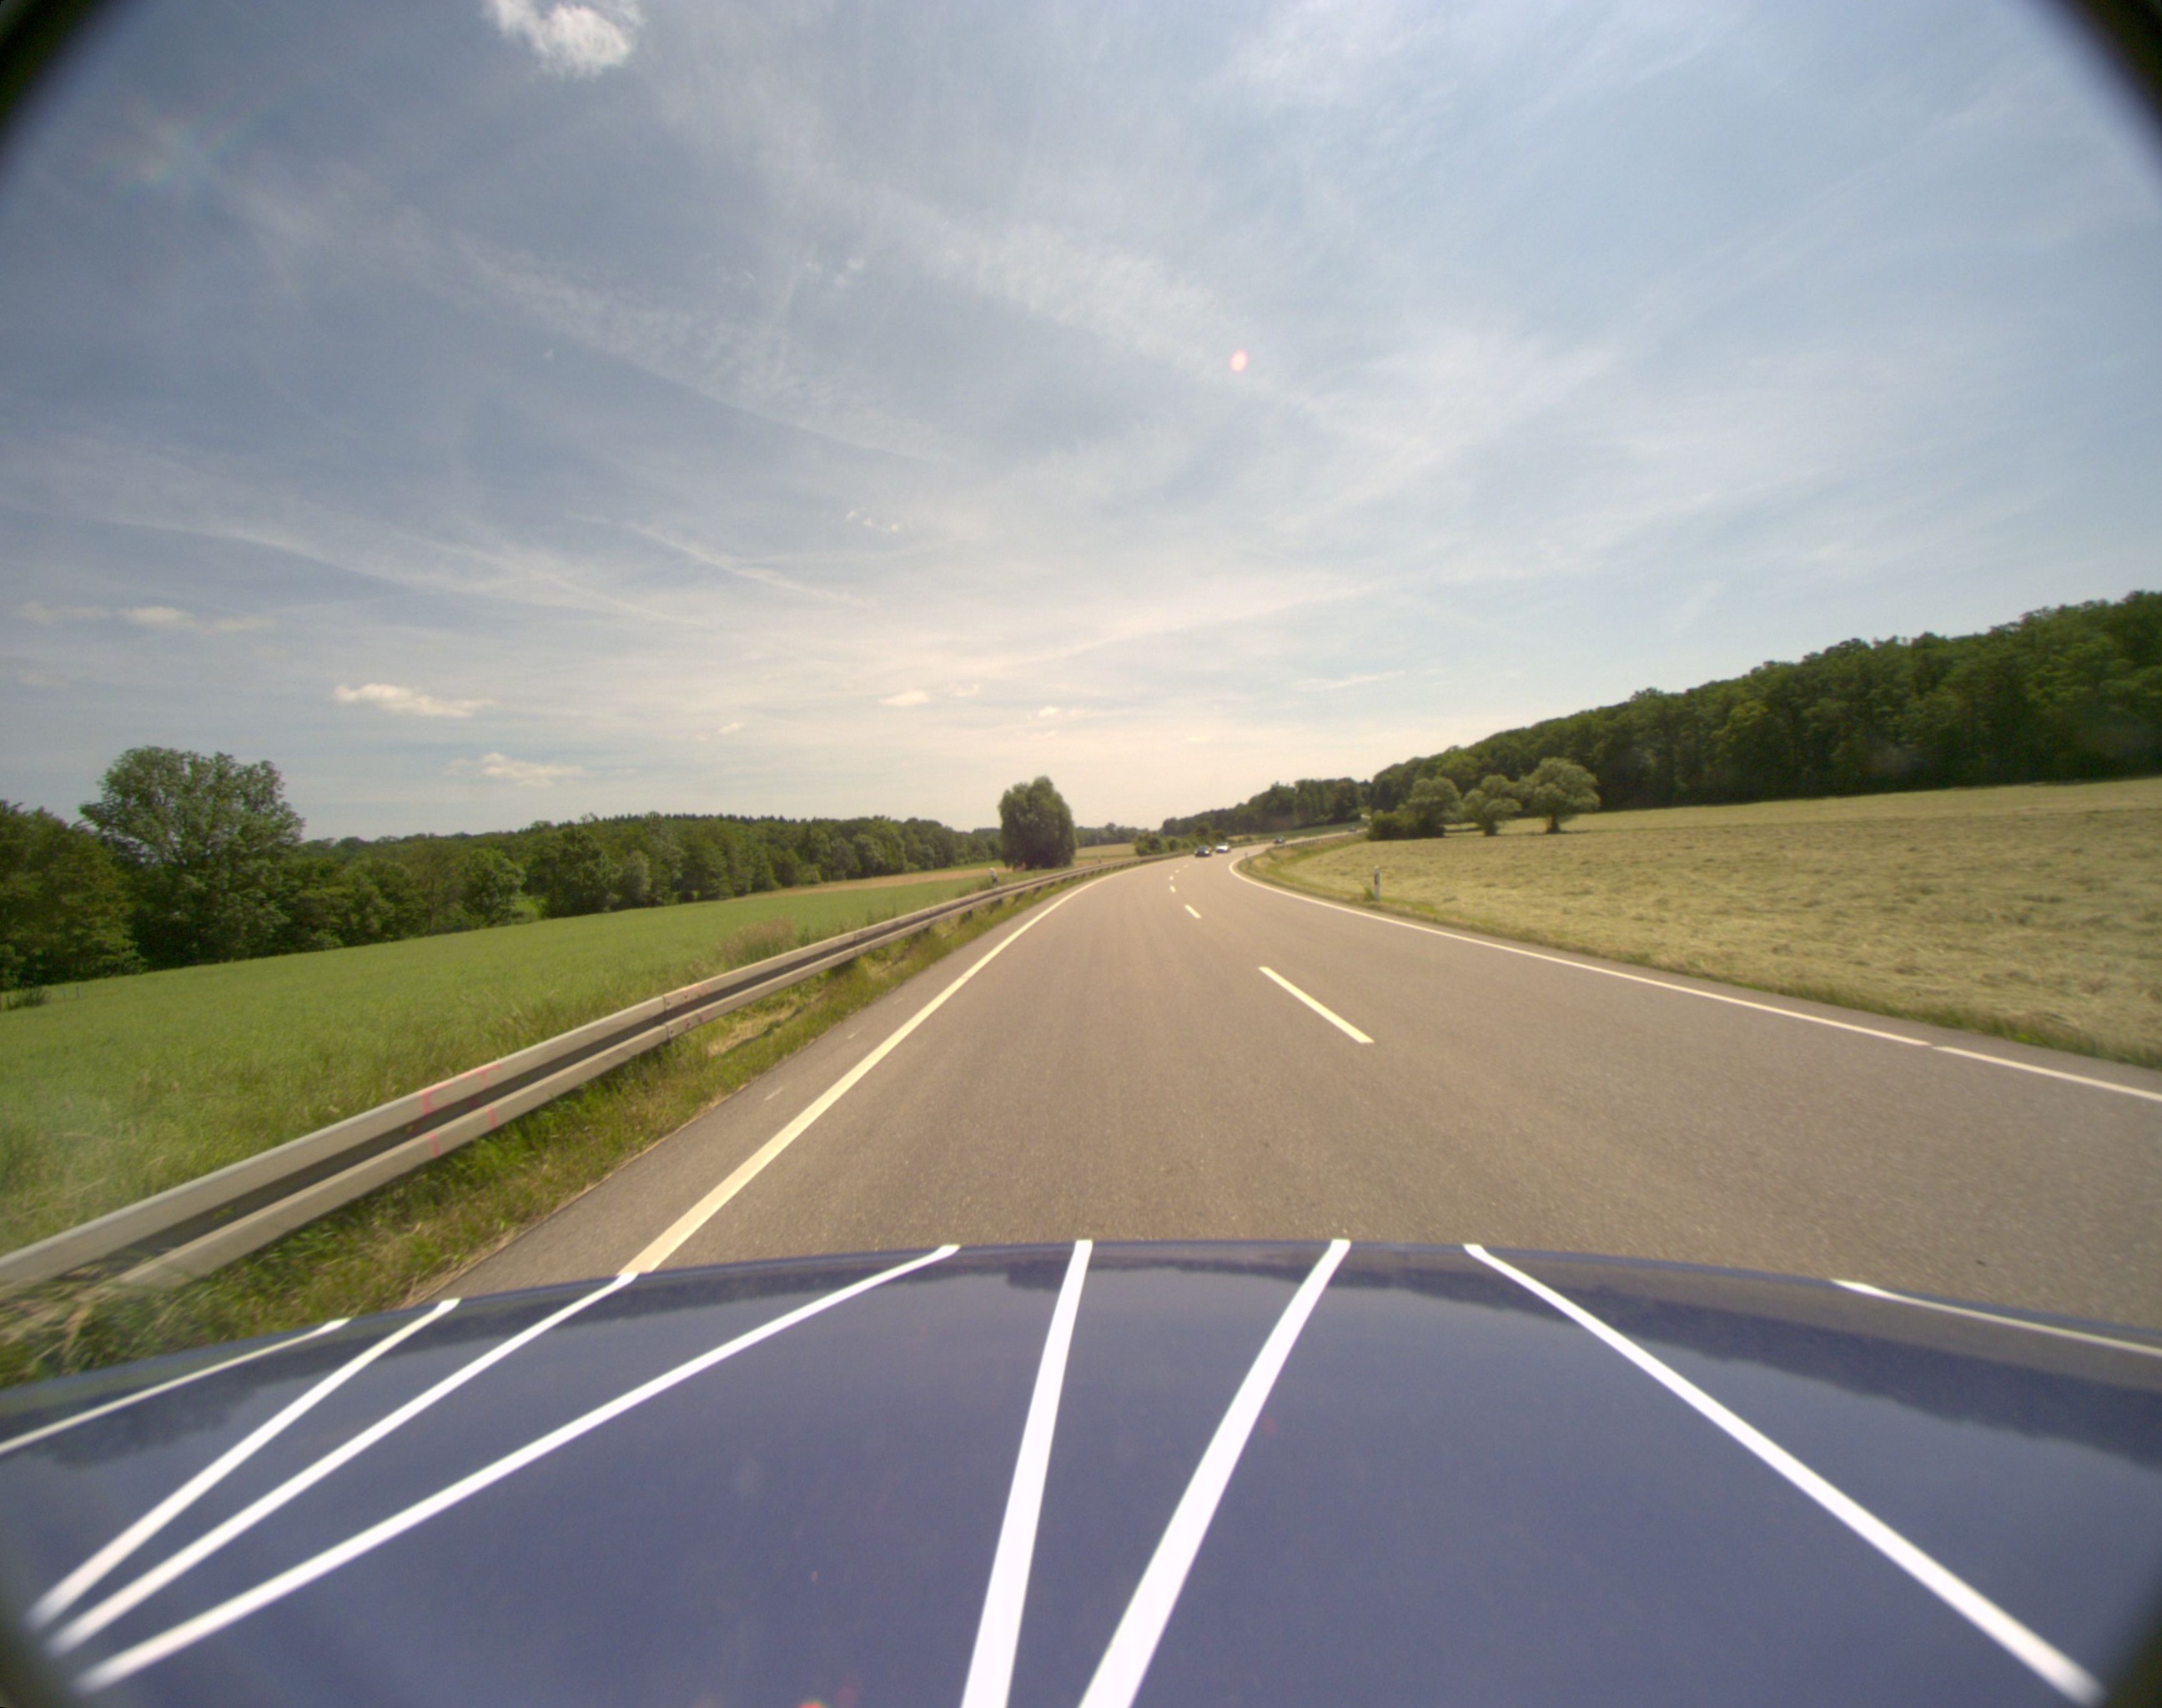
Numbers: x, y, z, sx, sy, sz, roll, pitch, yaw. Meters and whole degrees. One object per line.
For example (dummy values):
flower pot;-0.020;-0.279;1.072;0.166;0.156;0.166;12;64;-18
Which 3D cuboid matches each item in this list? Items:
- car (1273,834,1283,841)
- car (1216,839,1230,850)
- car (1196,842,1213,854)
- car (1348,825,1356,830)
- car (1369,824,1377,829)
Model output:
car;41.000;-3.460;158.057;1.619;1.428;3.447;-3;2;22
car;21.368;-1.454;114.434;1.619;1.428;3.446;-3;2;17
car;15.903;-0.806;97.685;1.619;1.428;3.447;-3;1;17
car;80.682;-7.857;226.409;1.618;1.428;3.448;-2;2;31
car;88.430;-8.464;230.218;1.701;1.461;4.207;0;3;30
